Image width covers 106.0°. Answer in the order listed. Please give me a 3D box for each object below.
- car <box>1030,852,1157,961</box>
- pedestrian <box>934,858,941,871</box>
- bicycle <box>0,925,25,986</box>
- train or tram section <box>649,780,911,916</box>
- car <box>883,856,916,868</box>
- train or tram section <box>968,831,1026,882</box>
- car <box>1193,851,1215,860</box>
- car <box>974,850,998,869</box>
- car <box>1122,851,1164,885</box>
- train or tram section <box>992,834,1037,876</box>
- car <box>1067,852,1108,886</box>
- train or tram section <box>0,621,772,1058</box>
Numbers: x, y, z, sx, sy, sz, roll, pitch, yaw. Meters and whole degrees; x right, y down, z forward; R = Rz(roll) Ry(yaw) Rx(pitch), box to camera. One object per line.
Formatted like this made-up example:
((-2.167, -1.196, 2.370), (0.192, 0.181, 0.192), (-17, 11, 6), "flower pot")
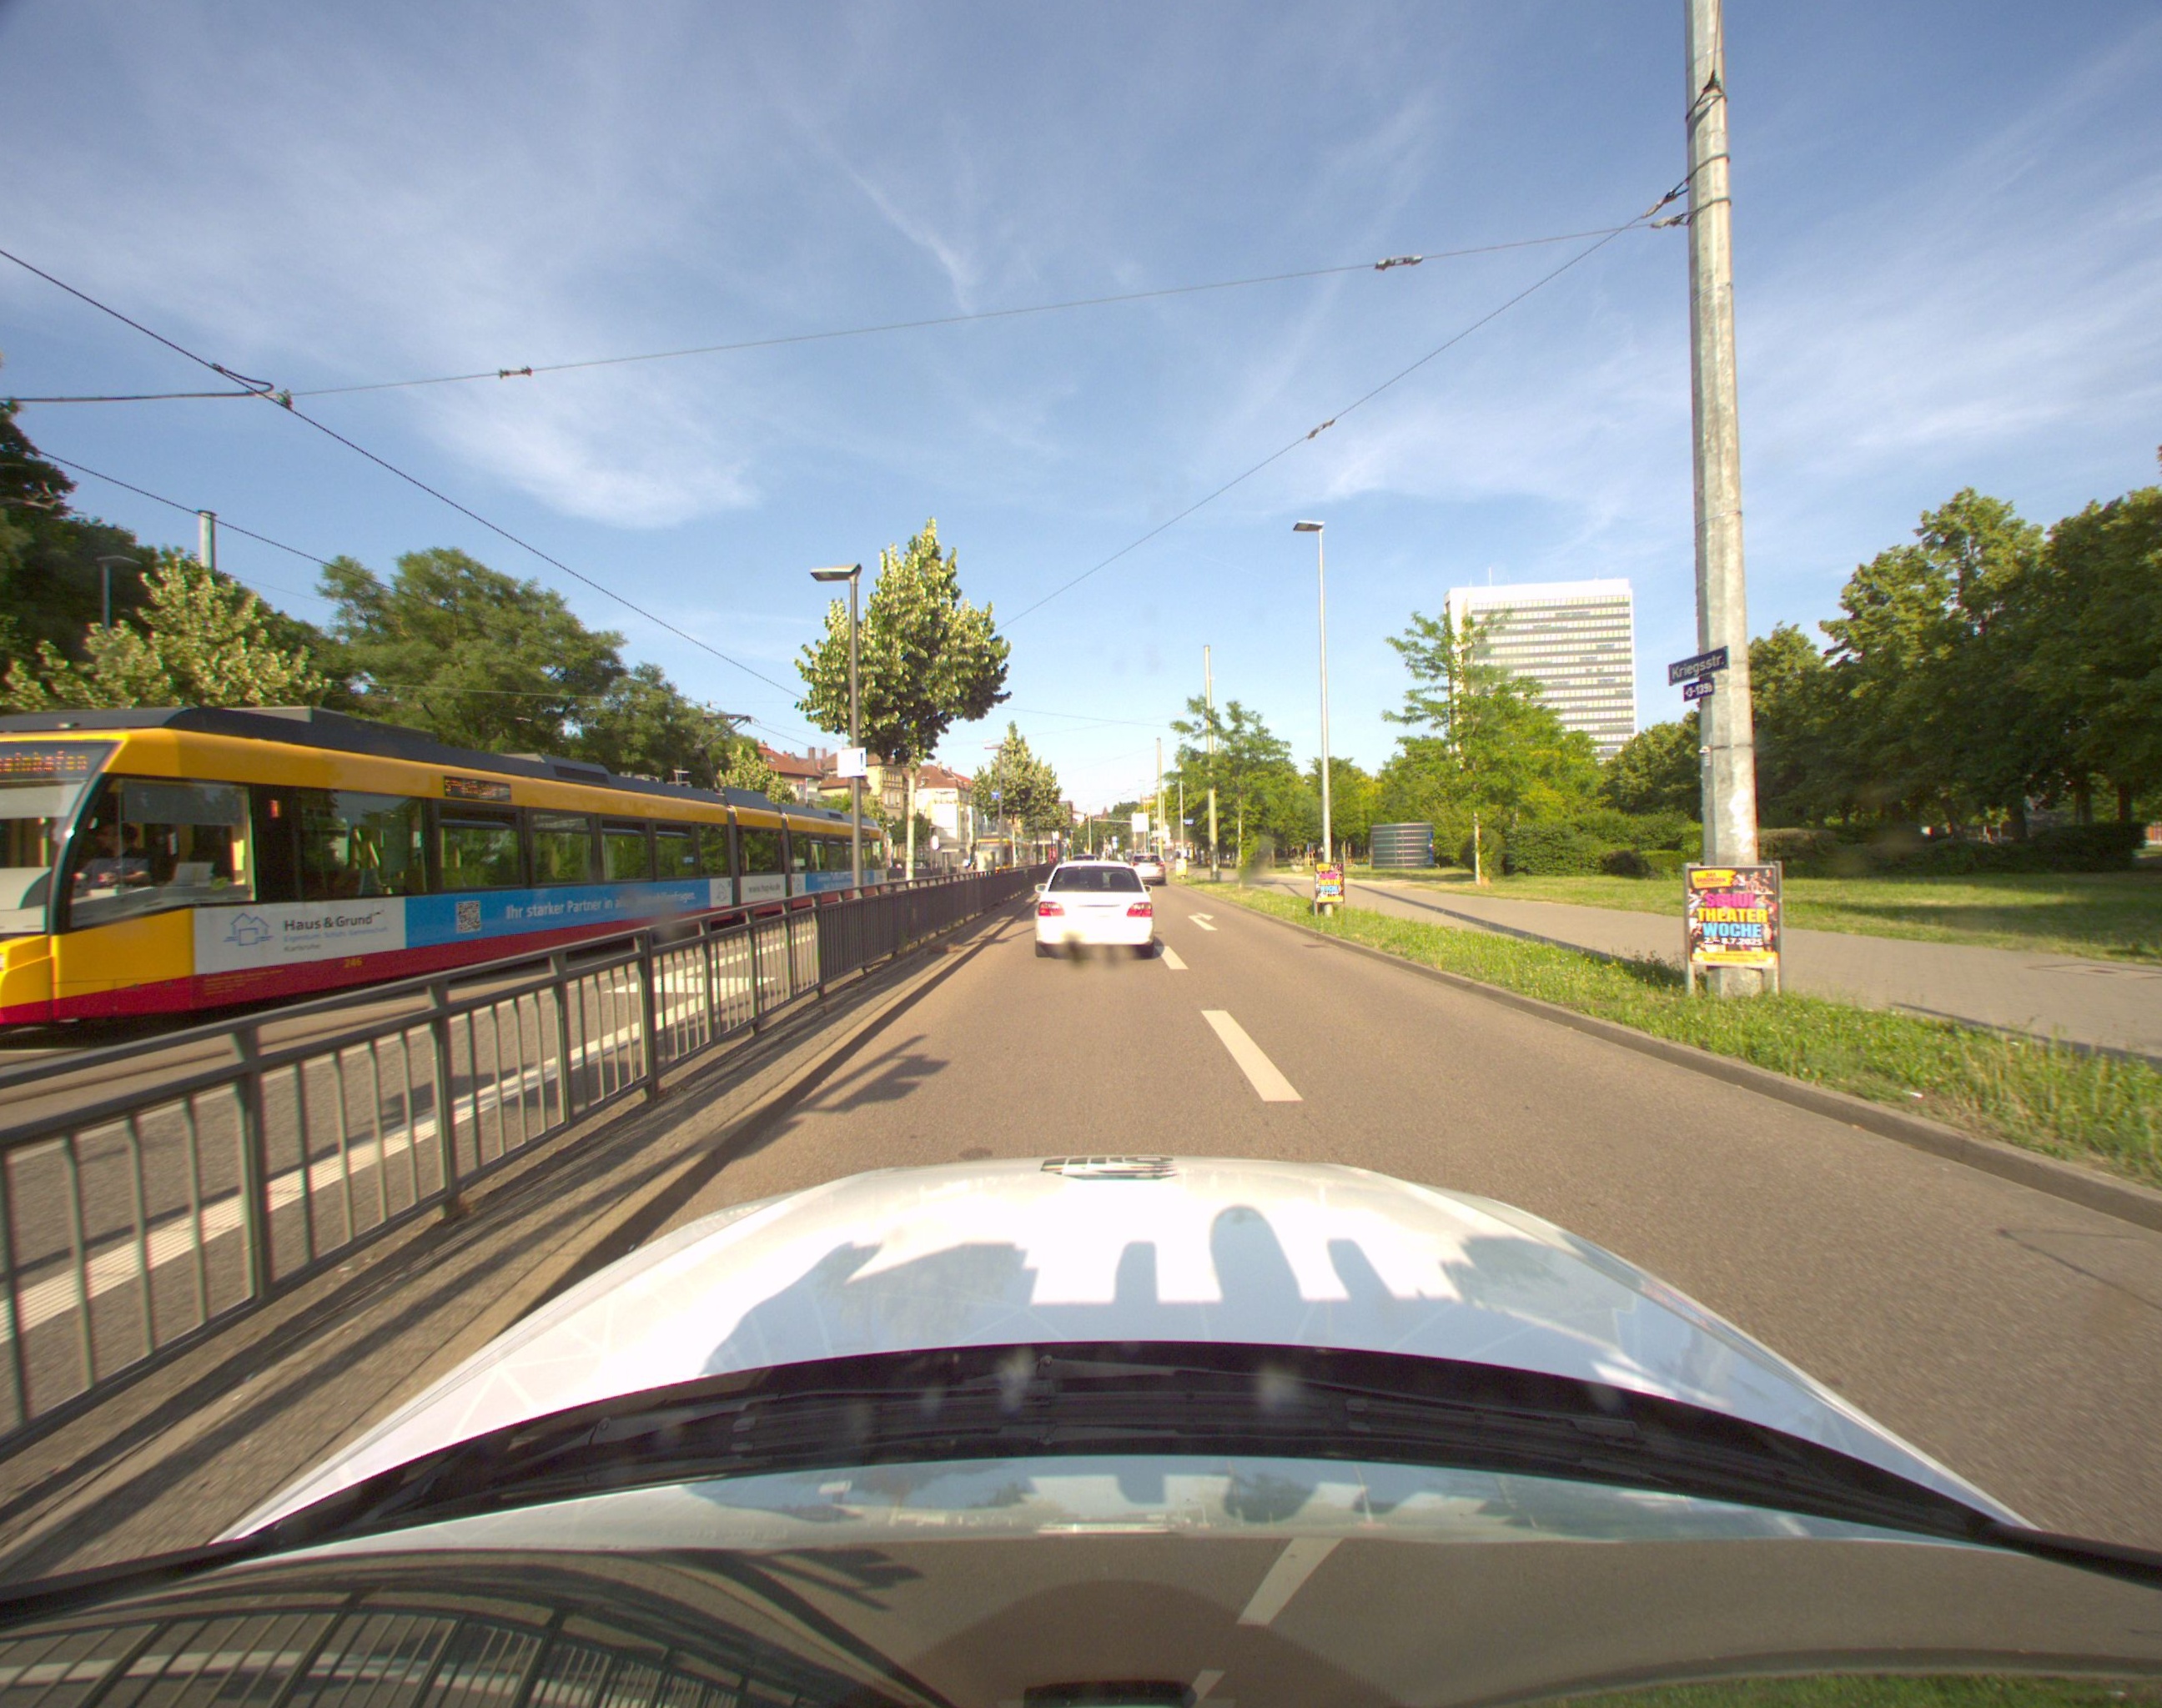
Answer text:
((0.341, 0.783, 13.295), (1.750, 1.504, 4.004), (0, -2, 5), "car")
((-19.510, 1.380, 110.802), (0.662, 1.753, 0.747), (-1, 0, 4), "pedestrian")
((-18.708, 1.746, 13.046), (0.539, 1.018, 2.253), (-1, 0, 4), "bicycle")
((-9.284, -0.177, 28.245), (3.149, 3.479, 14.480), (-1, 0, 2), "train or tram section")
((-26.008, 1.066, 116.651), (2.184, 1.628, 4.743), (-1, 0, 24), "car")
((-6.161, 0.156, 62.163), (2.839, 3.479, 13.201), (0, 0, 1), "train or tram section")
((24.429, 0.291, 161.912), (3.950, 1.651, 2.012), (-2, 0, 26), "car")
((-14.218, 0.790, 122.174), (2.588, 2.735, 7.467), (-1, 0, 0), "car")
((3.148, 0.683, 41.276), (2.023, 1.605, 4.005), (-1, 0, 5), "car")
((-5.960, 0.032, 75.191), (2.839, 3.479, 13.201), (-1, 0, 1), "train or tram section")
((0.382, 0.734, 42.666), (1.779, 1.690, 4.006), (-1, 0, 5), "car")
((-9.867, -0.124, 13.787), (3.149, 3.479, 14.541), (-1, 0, 2), "train or tram section")
